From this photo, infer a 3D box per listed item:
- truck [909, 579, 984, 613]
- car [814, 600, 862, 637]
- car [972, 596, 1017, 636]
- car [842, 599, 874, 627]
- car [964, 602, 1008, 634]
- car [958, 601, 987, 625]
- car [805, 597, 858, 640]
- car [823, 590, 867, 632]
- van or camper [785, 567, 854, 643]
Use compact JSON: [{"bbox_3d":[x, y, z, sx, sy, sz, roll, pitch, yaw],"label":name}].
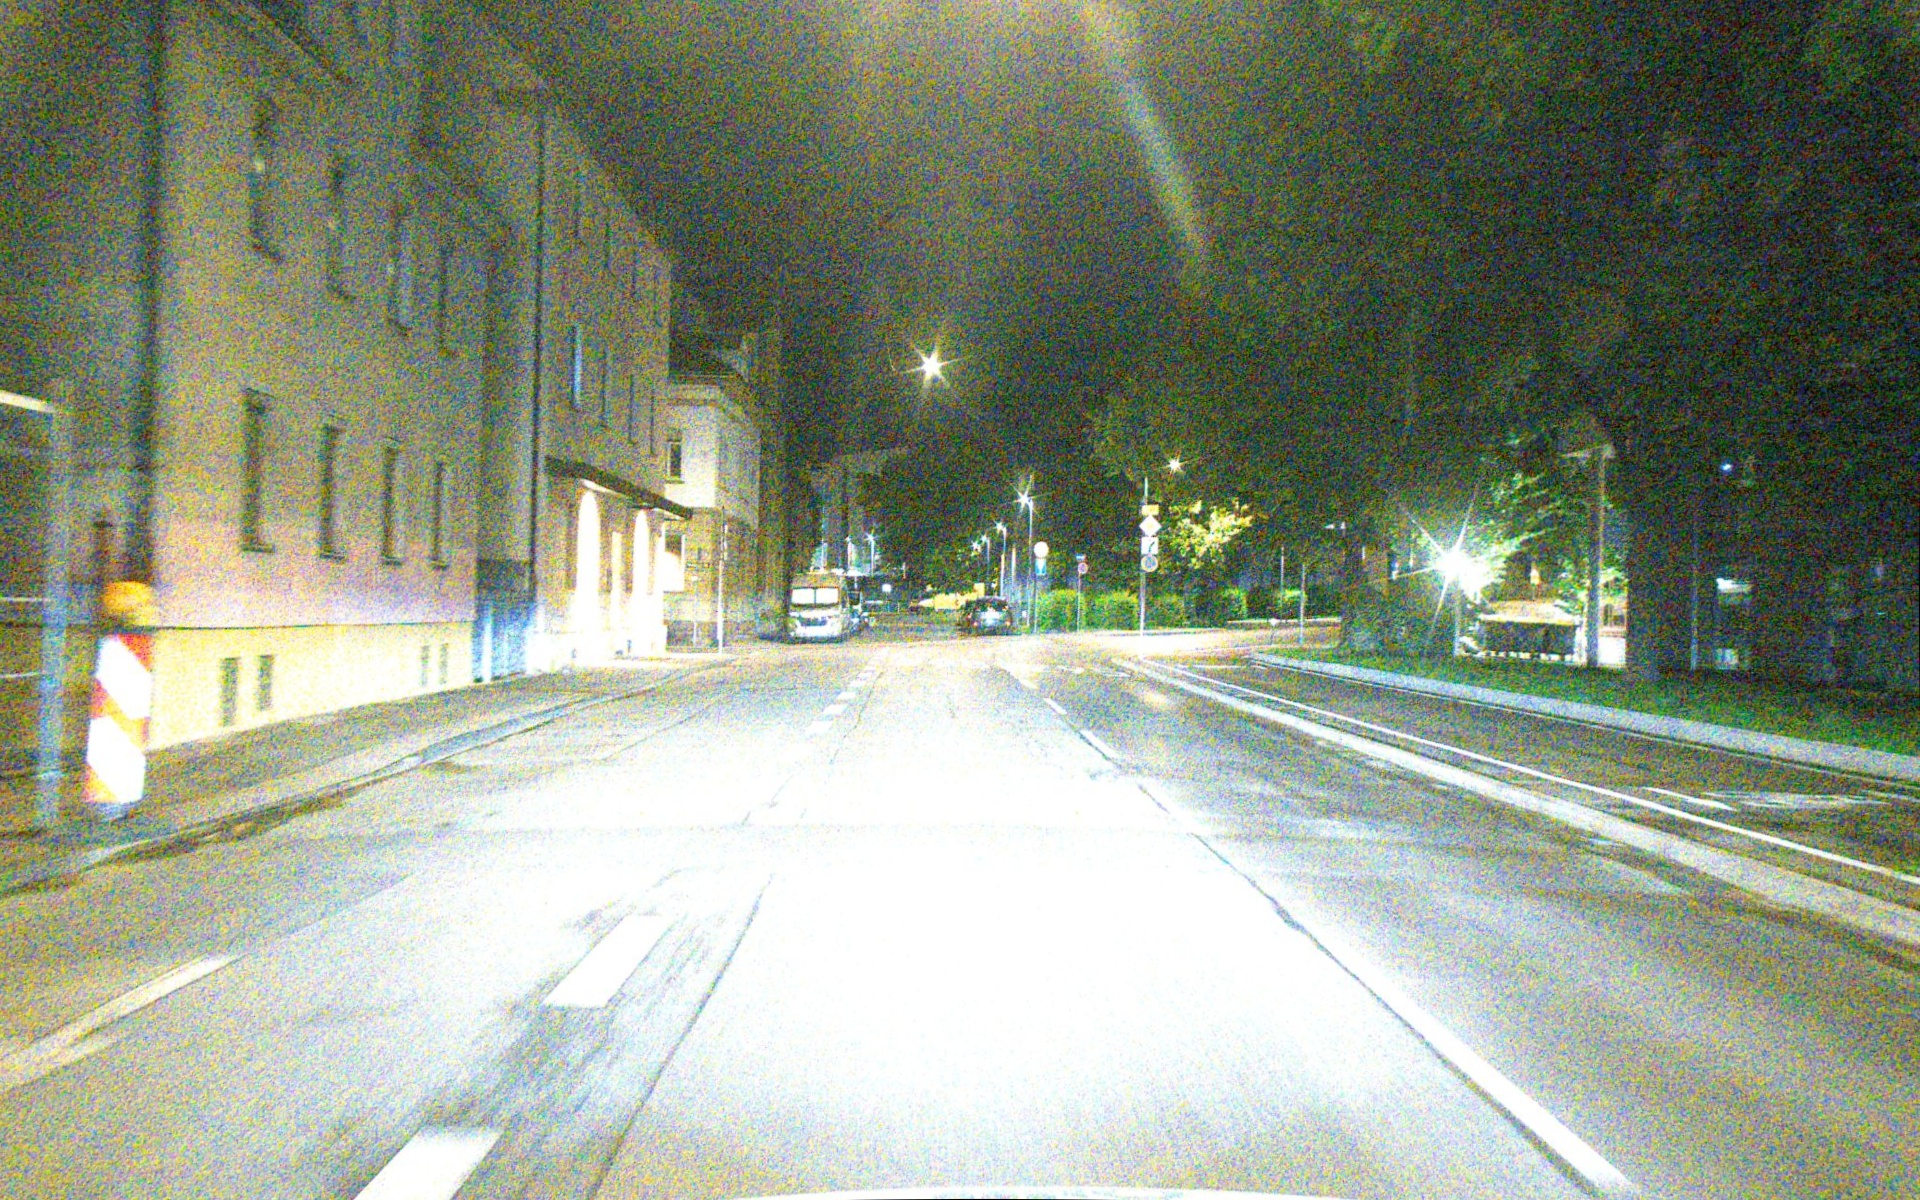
[{"bbox_3d":[-1.204,-0.333,149.064,6.642,2.894,1.998,1,0,-4],"label":"truck"},{"bbox_3d":[-5.346,0.775,71.895,1.804,1.533,4.733,0,0,-8],"label":"car"},{"bbox_3d":[1.483,0.694,71.599,1.845,1.631,4.107,-1,-1,1],"label":"car"},{"bbox_3d":[-5.821,0.765,94.455,1.670,1.536,4.098,1,-1,-2],"label":"car"},{"bbox_3d":[1.199,0.844,76.939,1.923,1.407,3.999,0,-1,-1],"label":"car"},{"bbox_3d":[0.775,0.823,105.450,1.722,1.470,4.024,0,0,-2],"label":"car"},{"bbox_3d":[-5.134,0.724,66.554,1.853,1.618,4.373,-1,0,-1],"label":"car"},{"bbox_3d":[-5.669,0.533,82.070,1.953,1.989,4.804,0,0,-1],"label":"car"},{"bbox_3d":[-5.124,0.201,61.032,2.114,2.580,6.224,-2,0,-2],"label":"van or camper"}]
